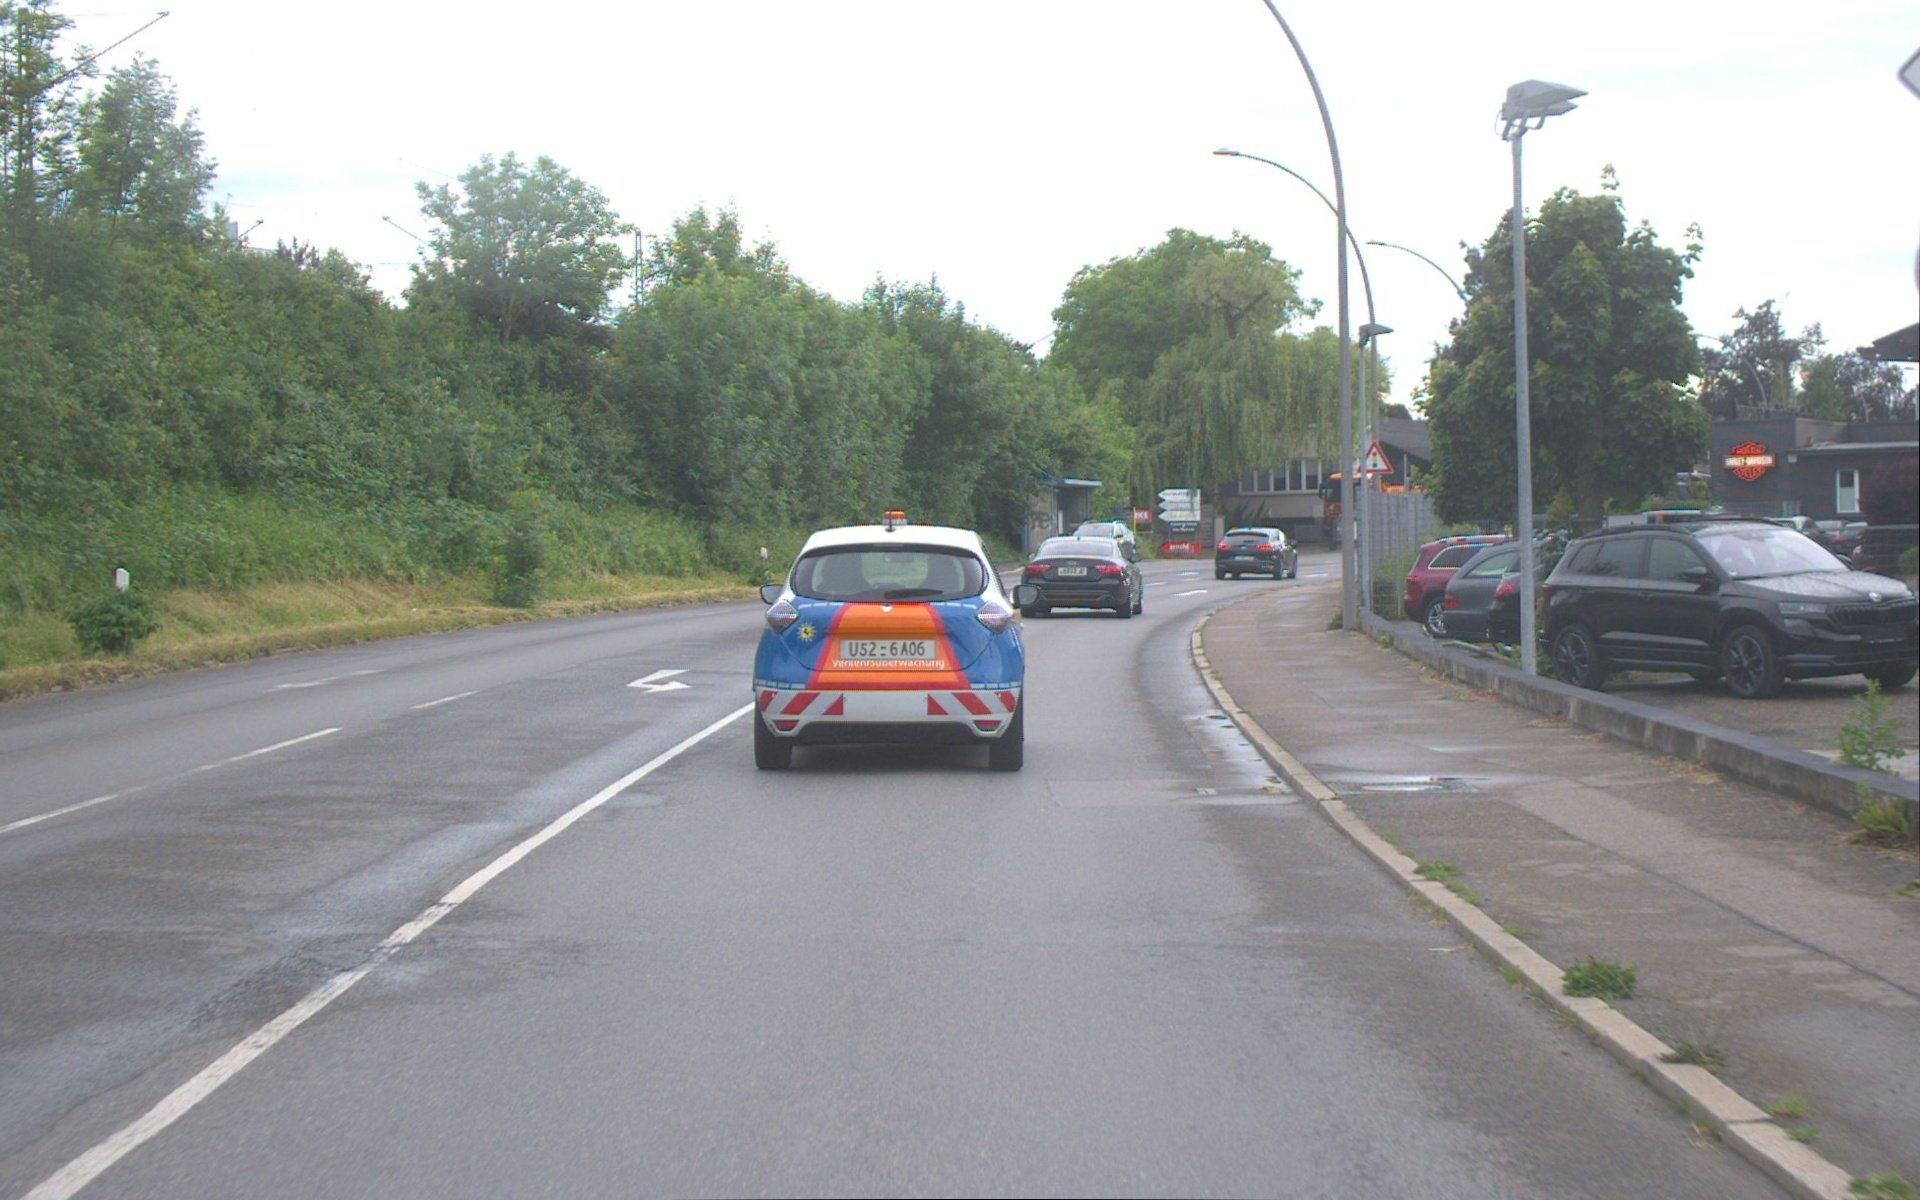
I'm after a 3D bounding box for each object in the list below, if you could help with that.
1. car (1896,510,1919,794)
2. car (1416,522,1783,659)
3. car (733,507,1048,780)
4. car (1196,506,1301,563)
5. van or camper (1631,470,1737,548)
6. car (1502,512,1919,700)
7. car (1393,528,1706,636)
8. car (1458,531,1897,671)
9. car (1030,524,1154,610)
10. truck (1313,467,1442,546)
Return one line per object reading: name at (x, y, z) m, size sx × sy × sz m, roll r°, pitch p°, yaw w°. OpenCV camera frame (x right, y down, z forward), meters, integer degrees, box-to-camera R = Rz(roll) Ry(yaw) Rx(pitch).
car at (7.459, 0.215, 20.893) m, size 1.841 × 1.627 × 4.357 m, roll -2°, pitch 0°, yaw 38°
car at (7.840, -0.130, 42.330) m, size 3.997 × 1.550 × 1.894 m, roll 2°, pitch 0°, yaw 41°
car at (-0.487, 0.222, 23.010) m, size 1.888 × 1.626 × 4.001 m, roll -1°, pitch 1°, yaw -2°
car at (7.874, -1.761, 93.406) m, size 1.995 × 1.415 × 3.996 m, roll 2°, pitch 0°, yaw 17°
van or camper at (25.110, -3.180, 118.988) m, size 2.044 × 2.584 × 6.581 m, roll -1°, pitch 1°, yaw 26°
car at (7.260, 0.004, 32.674) m, size 1.836 × 1.602 × 4.550 m, roll -2°, pitch 2°, yaw -26°
car at (9.772, -0.306, 57.123) m, size 4.692 × 1.657 × 1.996 m, roll 2°, pitch 0°, yaw 34°
car at (8.052, -0.018, 38.754) m, size 4.438 × 1.474 × 1.930 m, roll 0°, pitch 2°, yaw 36°
car at (2.268, -0.548, 58.287) m, size 1.721 × 1.371 × 3.933 m, roll 2°, pitch 0°, yaw 7°
truck at (20.036, -4.440, 164.444) m, size 2.702 × 3.400 × 9.056 m, roll 2°, pitch 0°, yaw 30°
